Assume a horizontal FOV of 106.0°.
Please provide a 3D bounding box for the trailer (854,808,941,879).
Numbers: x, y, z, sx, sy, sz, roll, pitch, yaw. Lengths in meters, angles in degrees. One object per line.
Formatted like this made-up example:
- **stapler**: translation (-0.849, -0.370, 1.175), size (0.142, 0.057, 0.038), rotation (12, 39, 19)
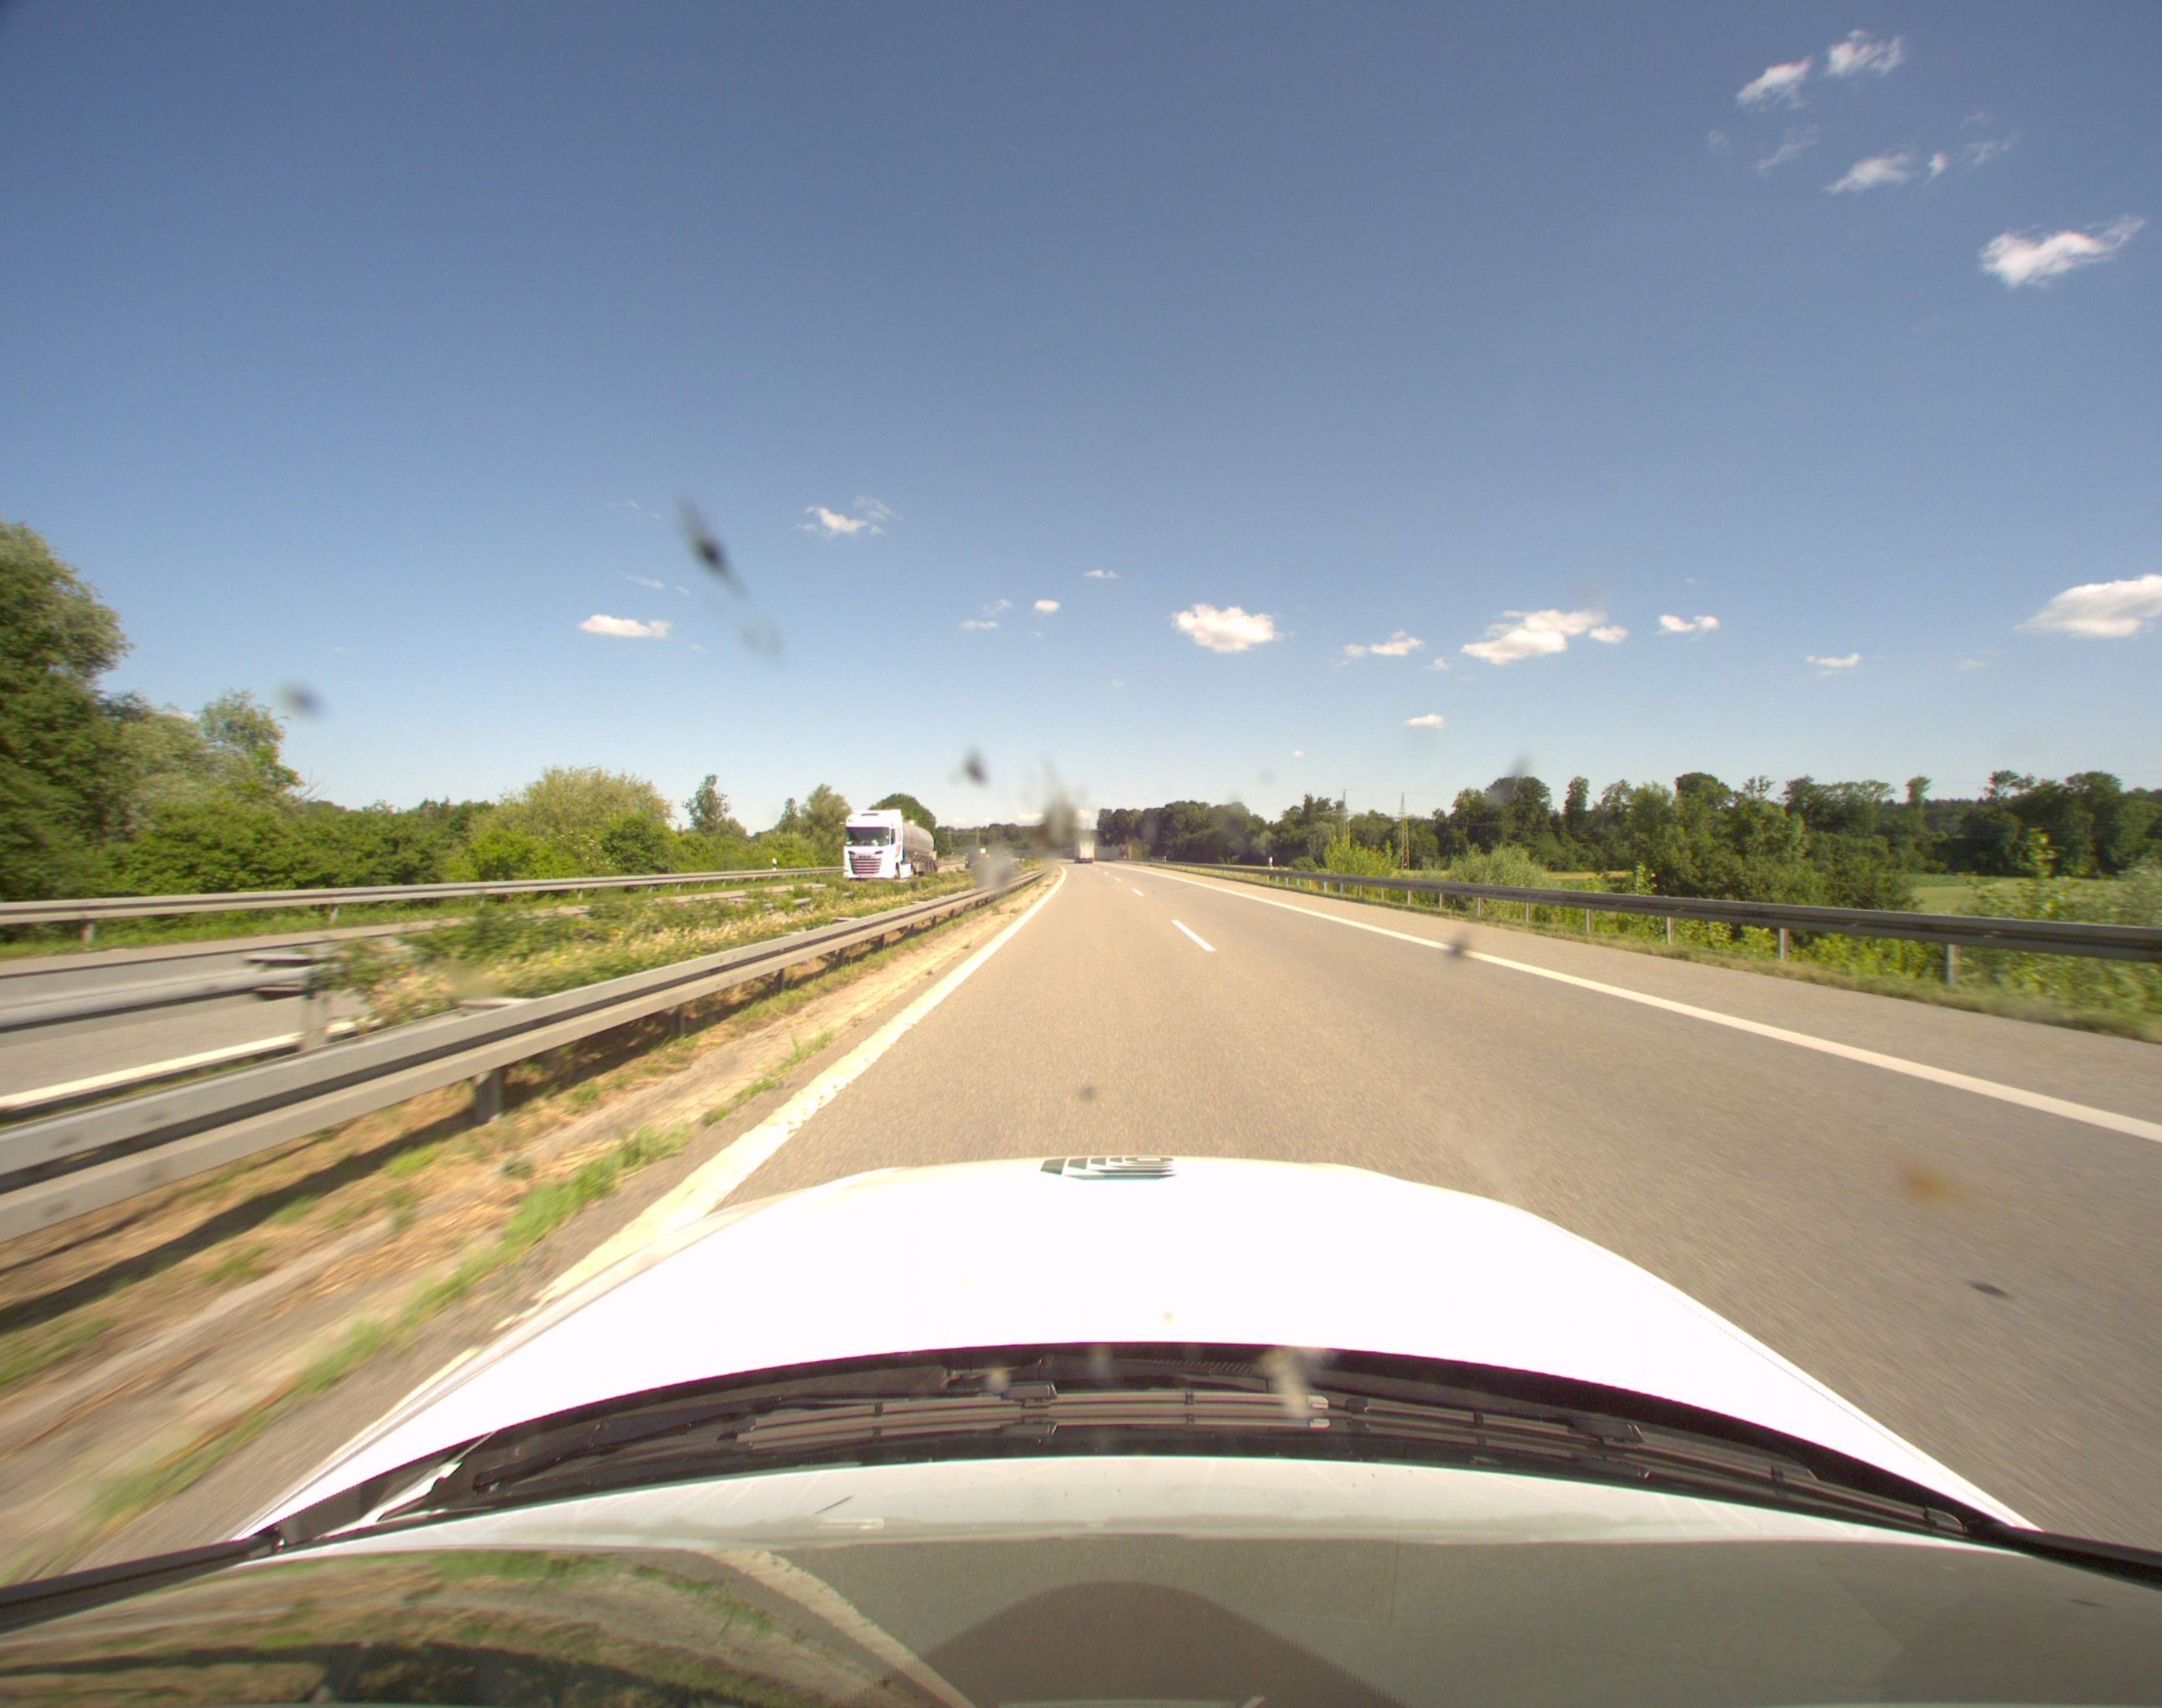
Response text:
- **trailer**: translation (-10.731, -0.549, 48.932), size (2.732, 3.727, 10.910), rotation (-1, 0, 0)

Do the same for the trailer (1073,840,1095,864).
- **trailer**: translation (0.510, -0.407, 149.462), size (2.879, 4.066, 12.399), rotation (-1, 0, -5)

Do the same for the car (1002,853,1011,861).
- **car**: translation (-16.455, 0.575, 180.420), size (1.990, 1.679, 5.308), rotation (-2, 0, -5)

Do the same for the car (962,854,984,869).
- **car**: translation (-12.076, 0.777, 91.378), size (1.988, 1.554, 4.417), rotation (-2, 0, -2)

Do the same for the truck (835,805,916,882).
- **truck**: translation (-10.709, -0.513, 43.018), size (2.733, 3.727, 5.970), rotation (-1, 0, -1)
